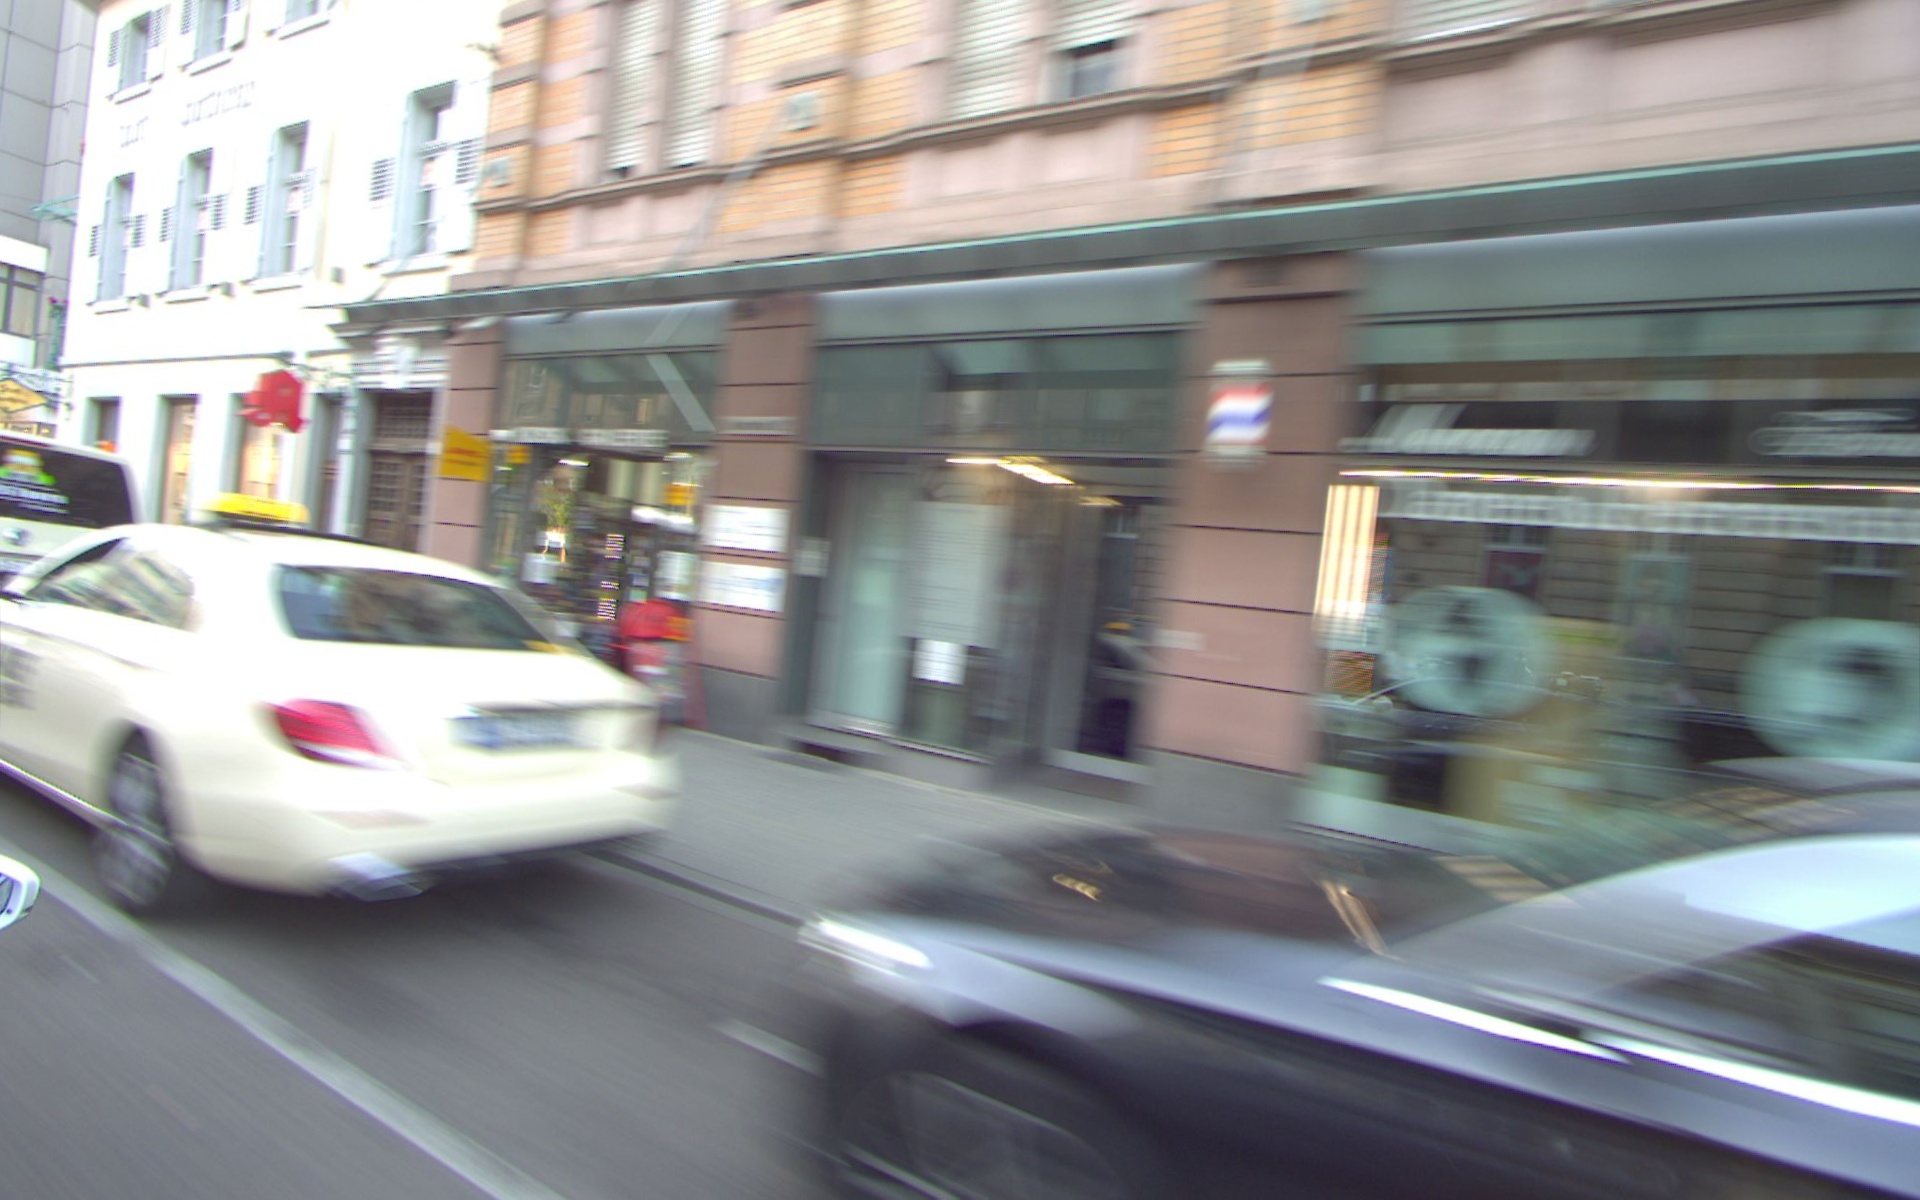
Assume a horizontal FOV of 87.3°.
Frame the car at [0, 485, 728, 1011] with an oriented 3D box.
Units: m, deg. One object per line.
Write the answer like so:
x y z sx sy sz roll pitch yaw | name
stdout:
-3.610 0.340 5.082 4.698 1.501 1.809 7 0 31 | car

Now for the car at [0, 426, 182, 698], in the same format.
-8.928 -0.481 8.596 4.621 1.945 1.881 6 -3 31 | car

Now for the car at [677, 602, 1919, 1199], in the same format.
1.861 1.046 1.904 4.740 1.494 1.730 6 -2 31 | car
